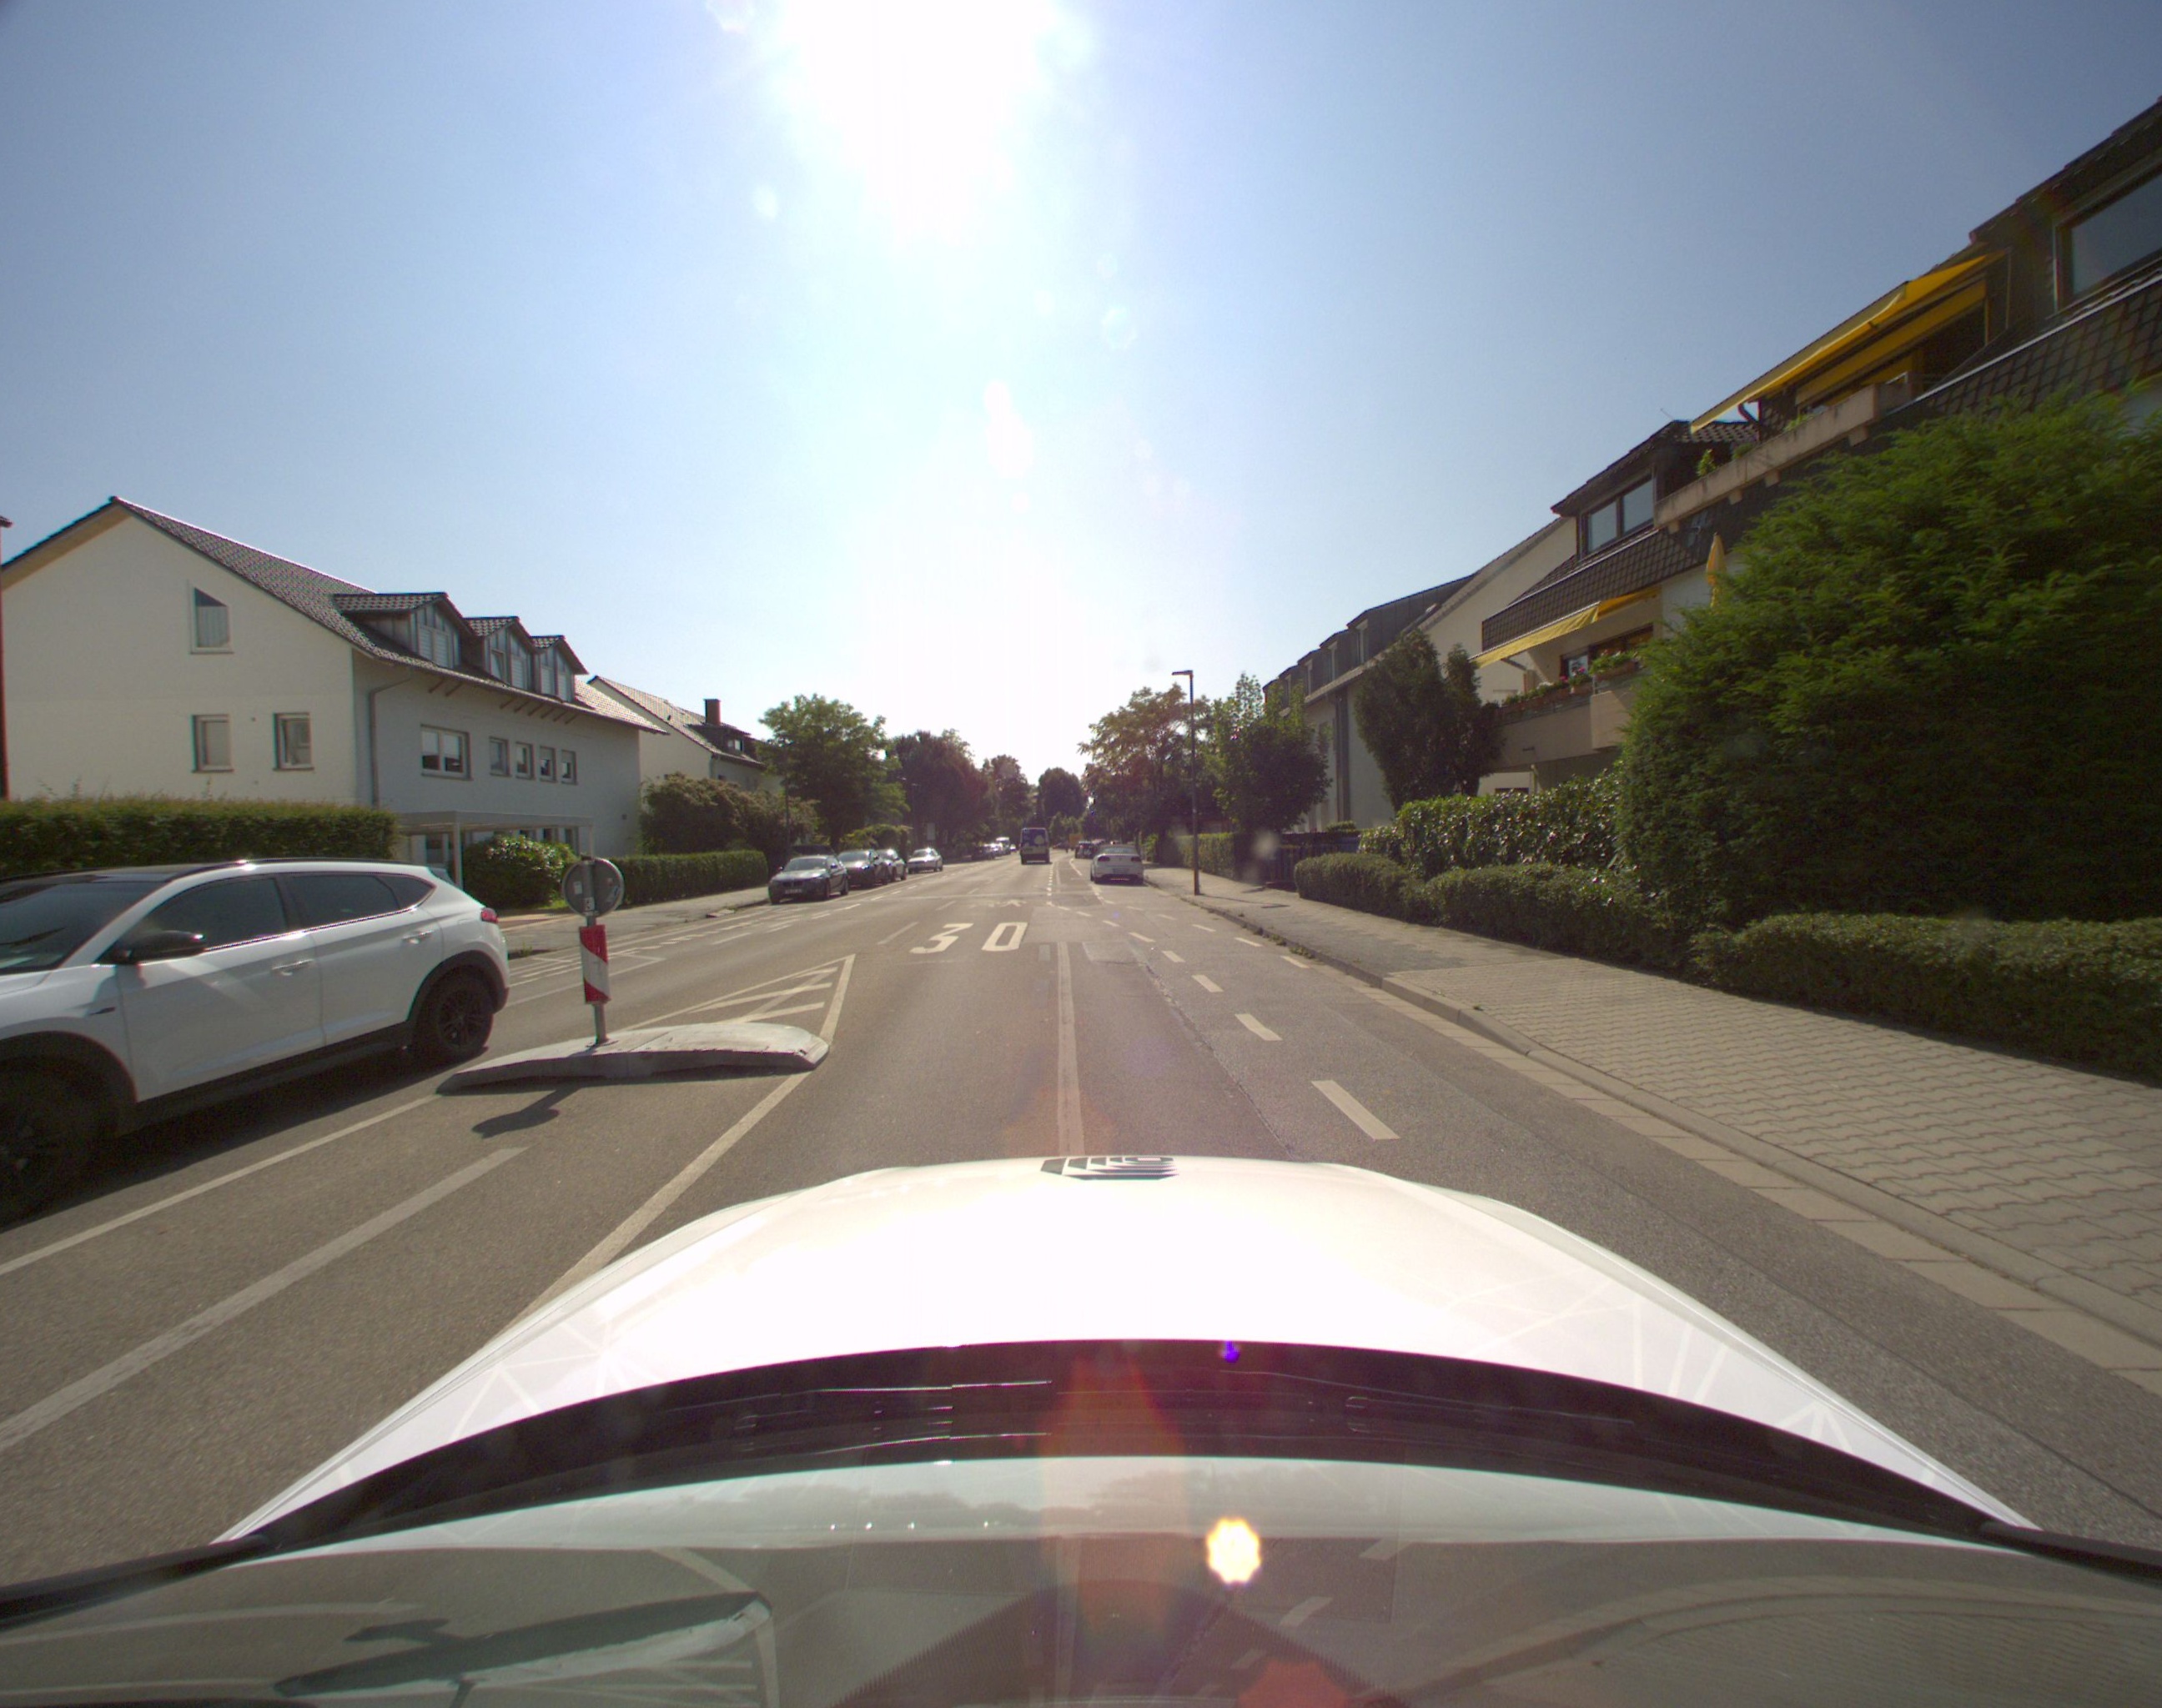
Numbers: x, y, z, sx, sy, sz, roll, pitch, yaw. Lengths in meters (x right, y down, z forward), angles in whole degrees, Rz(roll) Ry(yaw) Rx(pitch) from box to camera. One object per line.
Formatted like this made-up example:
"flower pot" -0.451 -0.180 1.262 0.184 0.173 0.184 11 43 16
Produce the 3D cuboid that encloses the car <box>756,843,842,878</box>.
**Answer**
"car" -15.528 0.320 45.007 3.976 1.759 1.999 -2 1 -2

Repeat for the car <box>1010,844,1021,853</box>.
"car" -11.297 -0.948 139.840 1.750 1.343 3.650 -2 1 -3

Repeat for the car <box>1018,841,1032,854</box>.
"car" -7.421 -0.859 108.464 1.728 1.541 3.996 -3 1 -3

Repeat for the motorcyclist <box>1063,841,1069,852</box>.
"motorcyclist" -2.023 -0.999 110.338 0.670 1.518 0.652 -2 0 -1

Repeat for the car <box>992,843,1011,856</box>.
"car" -9.859 -0.581 101.121 1.829 1.595 3.774 -2 0 0

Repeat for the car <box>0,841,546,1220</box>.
"car" -5.745 0.812 4.970 1.909 1.666 4.505 -3 1 -1

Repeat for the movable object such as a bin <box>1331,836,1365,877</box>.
"movable object such as a bin" 8.329 0.072 25.429 0.745 1.243 0.792 -2 1 -6

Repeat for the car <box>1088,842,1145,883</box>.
"car" 1.248 0.262 30.196 1.736 1.402 4.070 -1 1 -3

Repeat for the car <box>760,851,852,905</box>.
"car" -8.828 0.709 26.520 1.782 1.440 4.148 -3 1 -4

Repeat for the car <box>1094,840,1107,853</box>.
"car" 2.739 -1.100 112.586 1.694 1.676 3.776 -2 1 1

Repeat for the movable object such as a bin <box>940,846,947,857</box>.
"movable object such as a bin" -14.522 -0.299 86.216 0.541 1.111 0.585 -2 0 4

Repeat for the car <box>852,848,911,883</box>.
"car" -9.243 0.507 37.959 1.780 1.440 3.999 -2 1 -1

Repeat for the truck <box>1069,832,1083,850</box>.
"truck" -0.833 -2.129 138.634 2.206 2.946 5.687 -2 1 1

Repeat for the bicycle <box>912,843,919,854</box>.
"bicycle" -18.171 -0.623 89.333 0.538 1.181 1.438 -3 3 -17

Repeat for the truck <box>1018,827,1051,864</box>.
"truck" -3.431 -0.619 60.570 2.267 2.571 4.387 -2 1 -3

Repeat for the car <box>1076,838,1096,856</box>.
"car" 0.441 -0.709 78.084 1.779 1.638 4.469 0 1 -1

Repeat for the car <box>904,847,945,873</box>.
"car" -9.482 0.346 49.645 1.780 1.440 3.998 -2 1 -1

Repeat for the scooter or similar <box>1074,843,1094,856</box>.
"scooter or similar" 0.253 -0.425 75.353 1.775 1.154 0.724 3 1 43

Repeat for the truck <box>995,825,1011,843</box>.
"truck" -11.470 -2.891 119.722 2.077 2.537 5.459 -2 1 -4

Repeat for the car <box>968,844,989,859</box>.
"car" -10.582 -0.299 84.247 1.776 1.460 4.082 -2 1 -2

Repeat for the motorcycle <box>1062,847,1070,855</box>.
"motorcycle" -2.026 -0.410 110.379 1.053 1.122 2.990 -2 1 -1

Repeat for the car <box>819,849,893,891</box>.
"car" -8.960 0.573 32.818 1.780 1.440 4.110 -3 1 0
